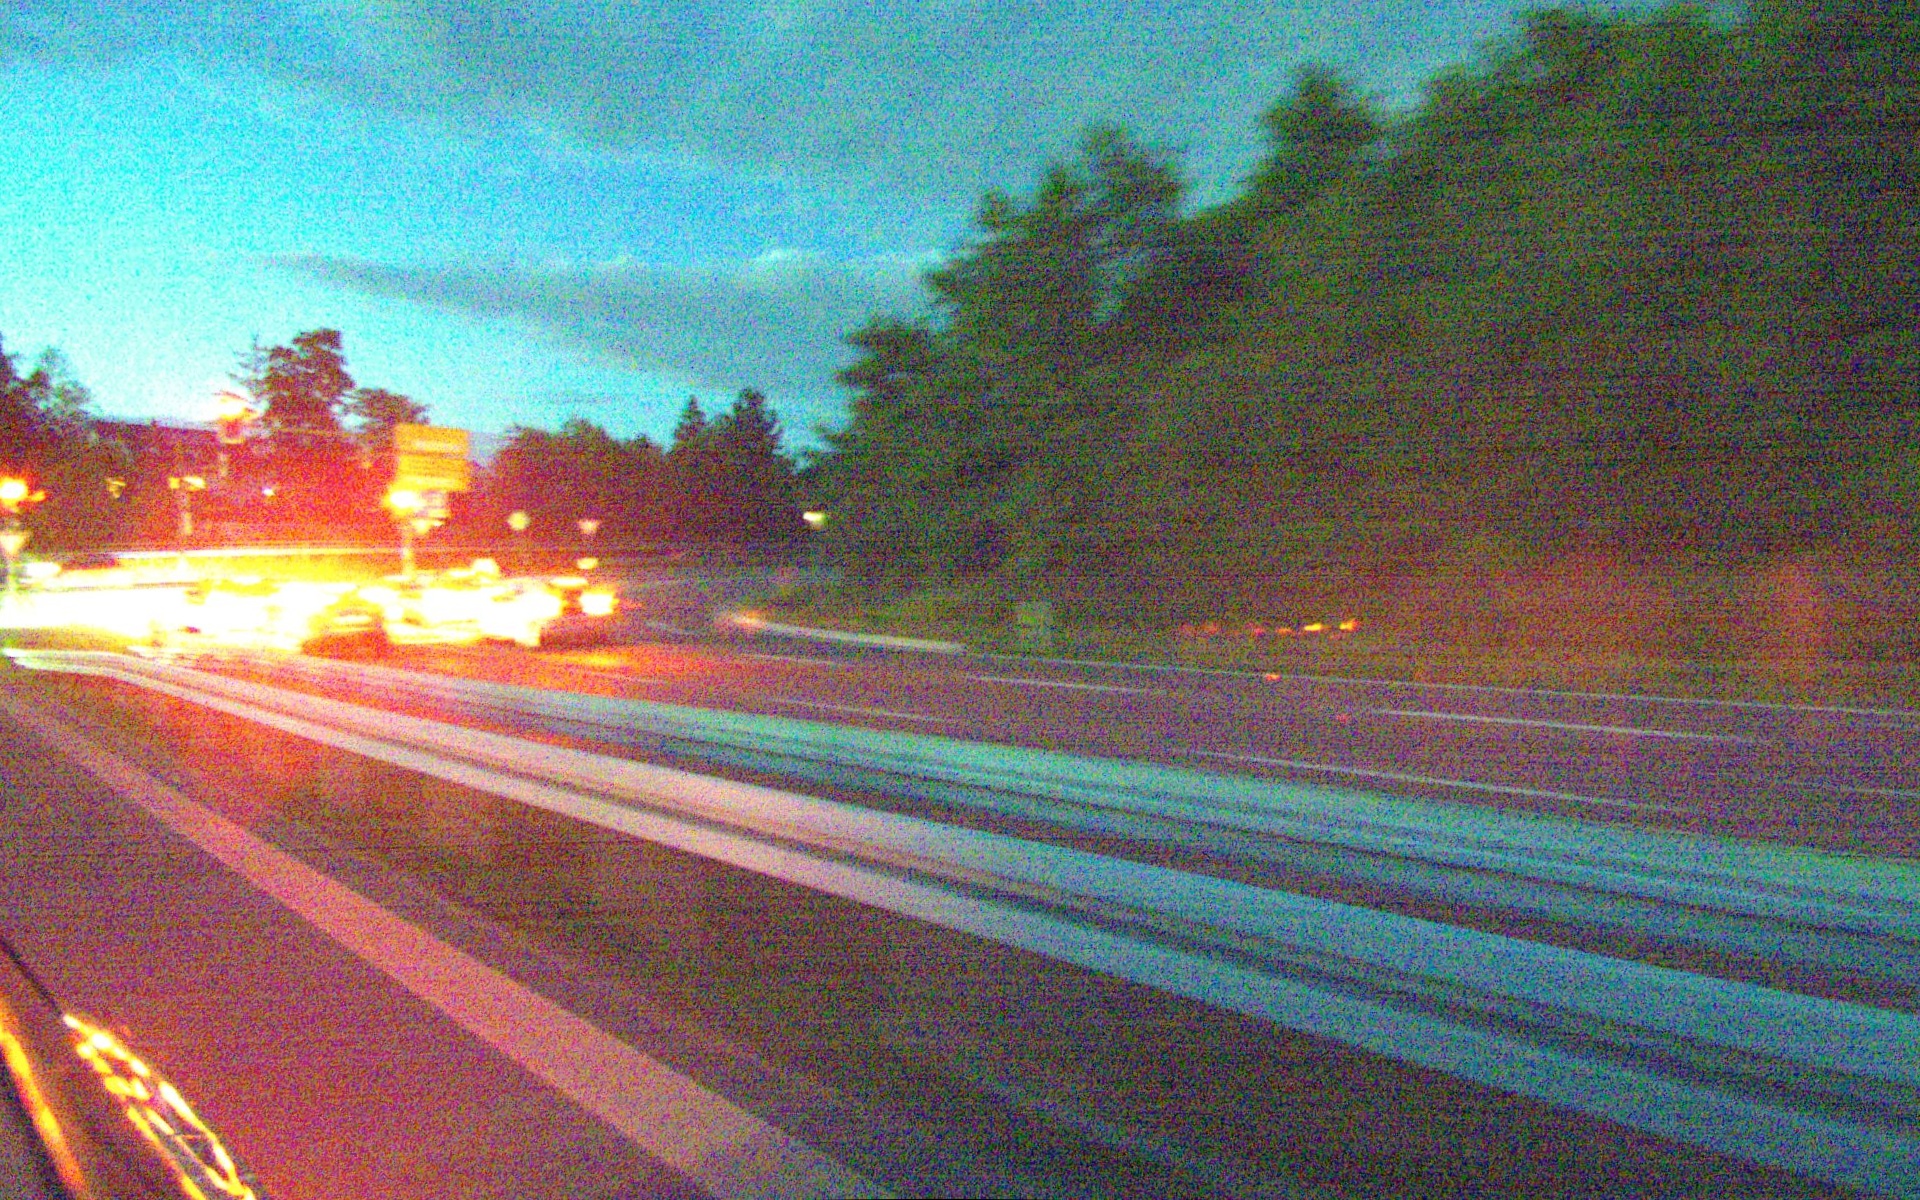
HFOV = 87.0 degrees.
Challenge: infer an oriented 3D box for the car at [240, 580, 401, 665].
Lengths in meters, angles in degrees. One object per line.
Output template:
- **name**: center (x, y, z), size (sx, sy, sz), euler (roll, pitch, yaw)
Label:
- **car**: center (-12.508, 0.352, 19.705), size (3.986, 1.455, 1.691), euler (1, 3, 44)

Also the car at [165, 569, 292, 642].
- **car**: center (-17.981, 0.068, 24.835), size (3.870, 1.485, 1.681), euler (4, 6, 42)

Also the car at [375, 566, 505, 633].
- **car**: center (-13.642, -0.081, 26.479), size (4.001, 1.471, 1.735), euler (3, 6, 43)

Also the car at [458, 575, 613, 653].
- **car**: center (-9.100, 0.216, 21.574), size (3.813, 1.470, 1.665), euler (2, 3, 44)

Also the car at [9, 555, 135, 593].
- **car**: center (-36.163, -1.100, 41.313), size (1.648, 1.461, 3.462), euler (0, 3, 24)
